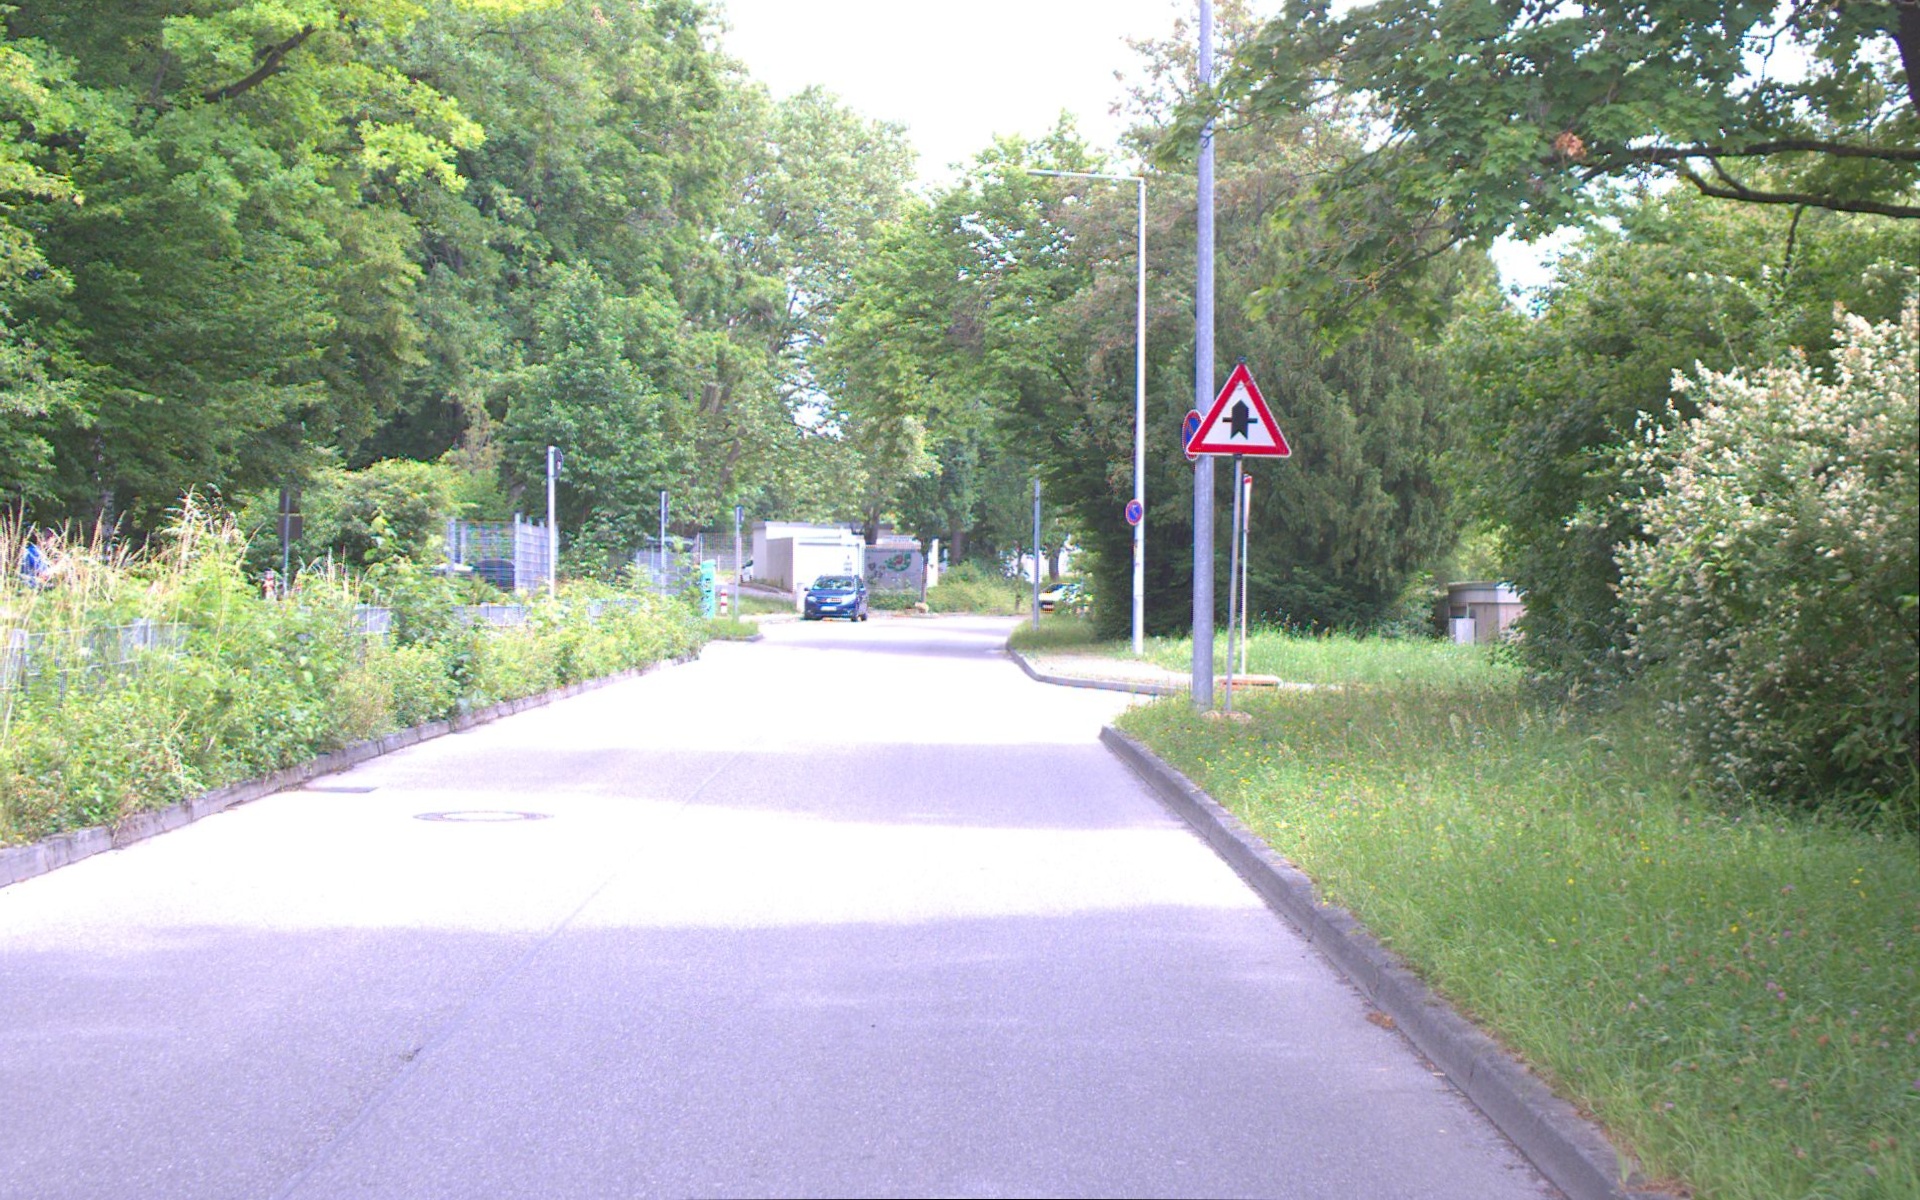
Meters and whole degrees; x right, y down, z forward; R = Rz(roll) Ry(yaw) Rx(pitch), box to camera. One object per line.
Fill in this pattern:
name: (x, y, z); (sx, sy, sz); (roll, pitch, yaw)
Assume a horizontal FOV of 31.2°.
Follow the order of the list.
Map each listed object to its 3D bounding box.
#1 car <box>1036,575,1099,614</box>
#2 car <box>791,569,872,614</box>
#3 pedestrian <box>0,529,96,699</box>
car: (4.669, -0.225, 149.019); (1.861, 1.487, 3.997); (-2, -2, 14)
car: (-4.159, -0.303, 112.044); (1.979, 1.379, 3.999); (1, 1, 7)
pedestrian: (-11.029, 0.176, 41.399); (0.865, 2.007, 0.878); (1, -3, -45)
